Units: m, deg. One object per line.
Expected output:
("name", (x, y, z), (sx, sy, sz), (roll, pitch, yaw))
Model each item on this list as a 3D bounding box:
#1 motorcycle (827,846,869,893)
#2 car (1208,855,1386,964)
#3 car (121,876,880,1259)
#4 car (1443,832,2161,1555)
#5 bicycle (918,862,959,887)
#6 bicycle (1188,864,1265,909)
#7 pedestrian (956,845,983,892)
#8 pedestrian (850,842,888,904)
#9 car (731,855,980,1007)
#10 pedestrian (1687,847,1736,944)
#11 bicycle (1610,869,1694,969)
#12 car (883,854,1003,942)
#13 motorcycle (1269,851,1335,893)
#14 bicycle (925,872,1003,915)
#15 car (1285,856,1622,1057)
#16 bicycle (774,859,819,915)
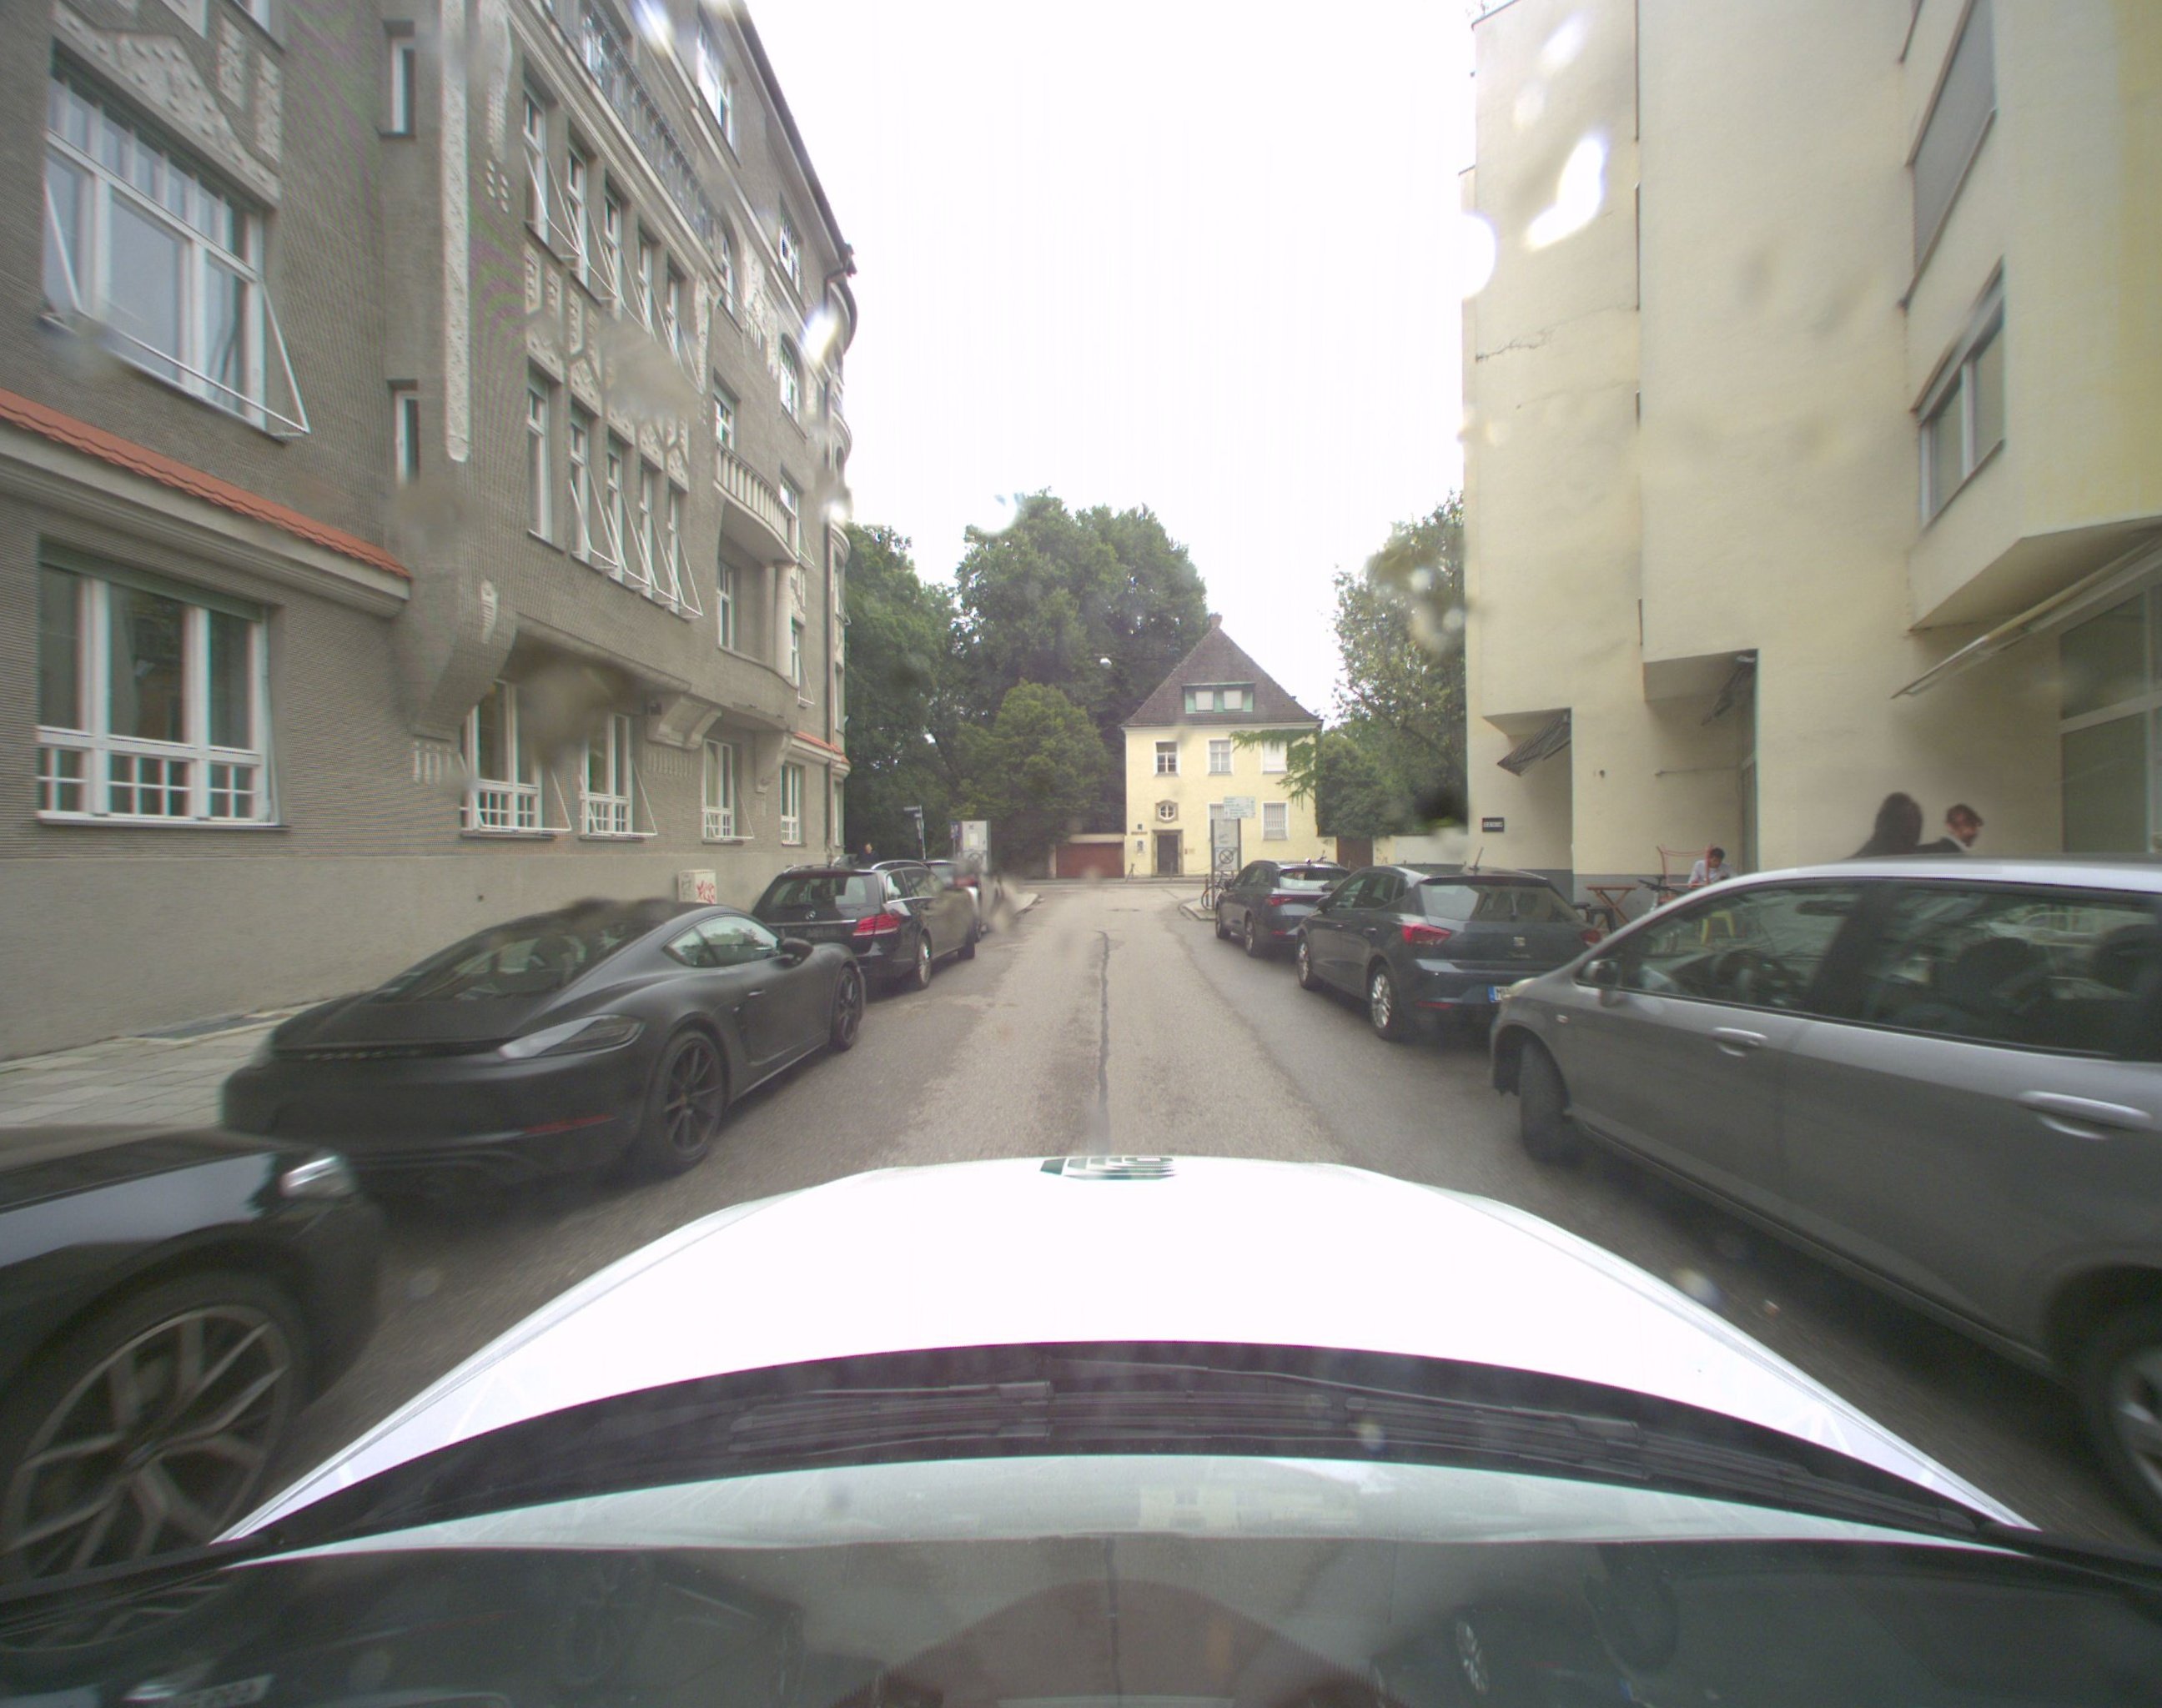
("motorcycle", (-7.478, 0.487, 26.242), (0.733, 1.441, 2.146), (0, 0, 0))
("car", (3.318, 0.765, 13.449), (1.687, 1.471, 4.609), (0, 0, 0))
("car", (-2.749, 0.881, 5.179), (1.748, 1.331, 4.099), (-1, 0, 2))
("car", (3.059, 0.717, 2.988), (1.630, 1.537, 3.851), (0, 0, -3))
("bicycle", (-6.161, 0.868, 35.136), (1.982, 1.010, 0.515), (0, 0, 38))
("bicycle", (3.706, 0.834, 20.831), (1.774, 1.085, 0.670), (-2, 1, 28))
("pedestrian", (-3.970, 0.496, 28.921), (0.813, 1.641, 0.721), (0, 0, -22))
("pedestrian", (-6.214, 0.547, 23.912), (0.835, 1.787, 0.937), (0, 0, 4))
("car", (-2.599, 0.794, 10.679), (1.748, 1.515, 4.710), (-1, 0, 2))
("pedestrian", (9.361, 0.596, 12.107), (0.526, 1.398, 0.678), (0, 0, 34))
("bicycle", (7.005, 0.746, 9.965), (0.743, 1.032, 1.811), (-2, 0, 36))
("car", (-2.573, 0.781, 15.822), (1.697, 1.515, 2.913), (-1, 0, 2))
("motorcycle", (7.476, 0.595, 27.573), (2.086, 1.356, 0.811), (0, 0, -22))
("bicycle", (-2.809, 0.951, 19.702), (1.796, 1.015, 0.540), (1, 0, 0))
("car", (3.251, 0.769, 7.982), (1.628, 1.471, 3.856), (0, 0, 1))
("bicycle", (-7.185, 0.801, 20.619), (0.617, 1.349, 1.673), (0, 0, -3))
